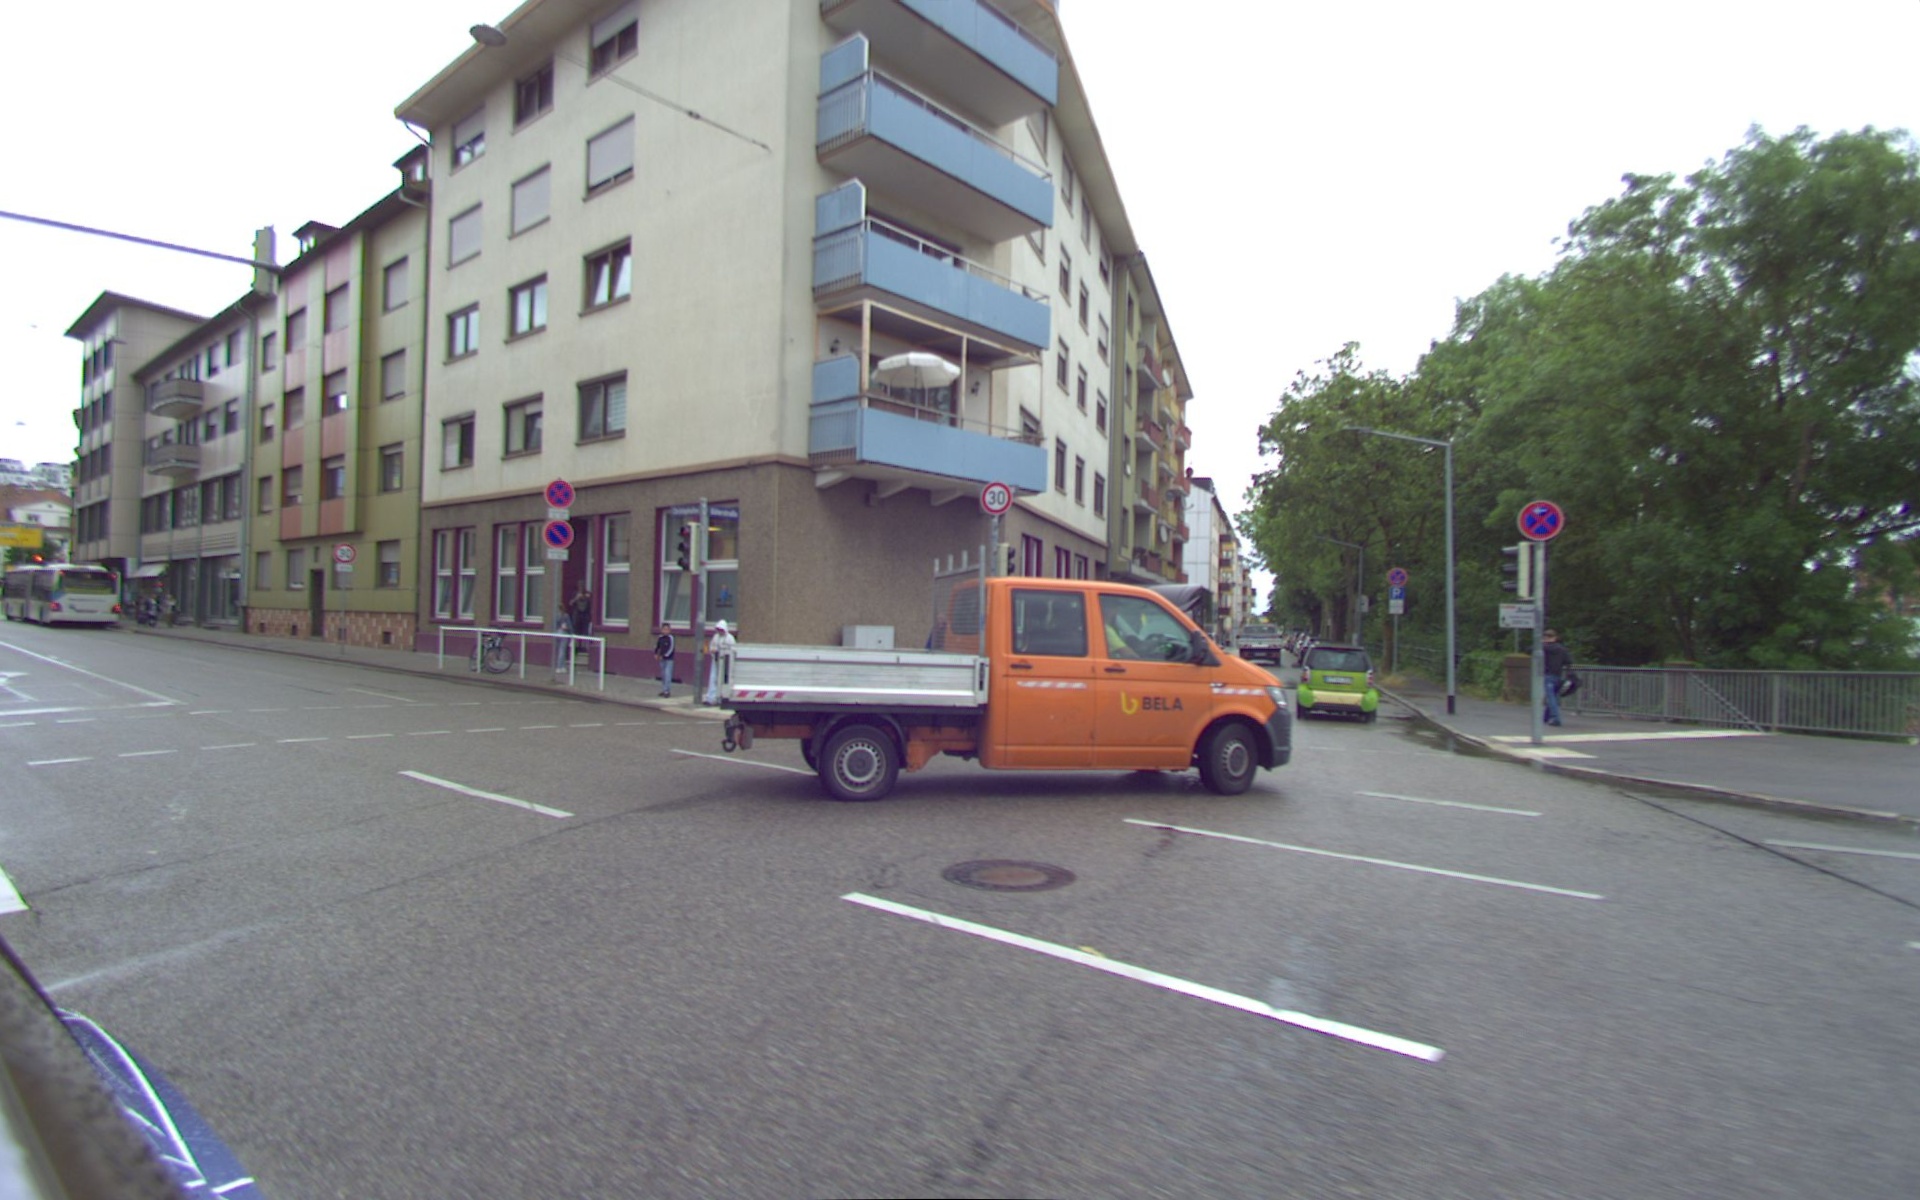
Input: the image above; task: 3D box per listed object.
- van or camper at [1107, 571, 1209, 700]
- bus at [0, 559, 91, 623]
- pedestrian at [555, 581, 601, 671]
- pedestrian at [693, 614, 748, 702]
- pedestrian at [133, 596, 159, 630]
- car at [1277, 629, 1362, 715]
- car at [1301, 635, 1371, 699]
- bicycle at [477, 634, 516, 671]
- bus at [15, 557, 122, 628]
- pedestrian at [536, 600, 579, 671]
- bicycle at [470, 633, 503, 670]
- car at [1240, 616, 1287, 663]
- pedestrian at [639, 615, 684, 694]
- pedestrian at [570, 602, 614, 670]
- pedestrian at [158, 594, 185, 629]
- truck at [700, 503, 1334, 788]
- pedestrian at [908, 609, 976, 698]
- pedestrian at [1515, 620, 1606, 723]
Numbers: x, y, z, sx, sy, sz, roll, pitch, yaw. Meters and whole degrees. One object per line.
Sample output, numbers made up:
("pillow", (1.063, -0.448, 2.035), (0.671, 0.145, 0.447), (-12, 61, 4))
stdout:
("van or camper", (5.089, 0.798, 25.271), (1.982, 2.751, 6.450), (2, 0, 15))
("bus", (-49.641, -0.534, 54.731), (8.908, 3.212, 2.730), (2, 0, 41))
("pedestrian", (-9.246, 0.617, 24.518), (0.729, 2.115, 0.705), (2, -1, 38))
("pedestrian", (-4.177, 1.001, 17.658), (0.660, 1.468, 0.636), (1, -1, 40))
("pedestrian", (-37.868, 0.617, 47.068), (0.711, 1.546, 0.791), (1, -1, 41))
("car", (7.405, 1.435, 21.035), (1.518, 1.559, 2.650), (2, 0, 17))
("car", (13.636, 2.375, 36.895), (1.982, 2.029, 3.979), (2, 0, 16))
("bicycle", (-10.937, 1.216, 23.860), (1.421, 0.789, 0.261), (2, 0, 41))
("bus", (-43.668, -0.408, 49.454), (9.289, 3.212, 2.697), (2, 0, 41))
("pedestrian", (-9.157, 0.805, 23.042), (0.739, 1.565, 0.569), (2, -1, 38))
("bicycle", (-10.962, 1.178, 23.419), (1.111, 0.789, 0.261), (2, 0, 41))
("car", (14.305, 1.818, 47.898), (1.982, 2.029, 3.980), (2, 0, 16))
("pedestrian", (-5.523, 1.000, 18.738), (0.649, 1.398, 0.539), (2, 2, 43))
("pedestrian", (-8.775, 0.850, 24.151), (0.588, 1.589, 0.765), (1, -1, 41))
("pedestrian", (-37.169, 0.554, 47.698), (0.711, 1.627, 0.828), (1, -1, 41))
("truck", (0.371, 0.426, 9.339), (5.227, 2.145, 2.414), (2, 0, -12))
("pedestrian", (-0.372, 1.092, 21.134), (1.022, 1.766, 0.920), (1, -1, 43))
("pedestrian", (11.007, 1.286, 18.597), (1.050, 1.770, 1.070), (2, 0, 7))
